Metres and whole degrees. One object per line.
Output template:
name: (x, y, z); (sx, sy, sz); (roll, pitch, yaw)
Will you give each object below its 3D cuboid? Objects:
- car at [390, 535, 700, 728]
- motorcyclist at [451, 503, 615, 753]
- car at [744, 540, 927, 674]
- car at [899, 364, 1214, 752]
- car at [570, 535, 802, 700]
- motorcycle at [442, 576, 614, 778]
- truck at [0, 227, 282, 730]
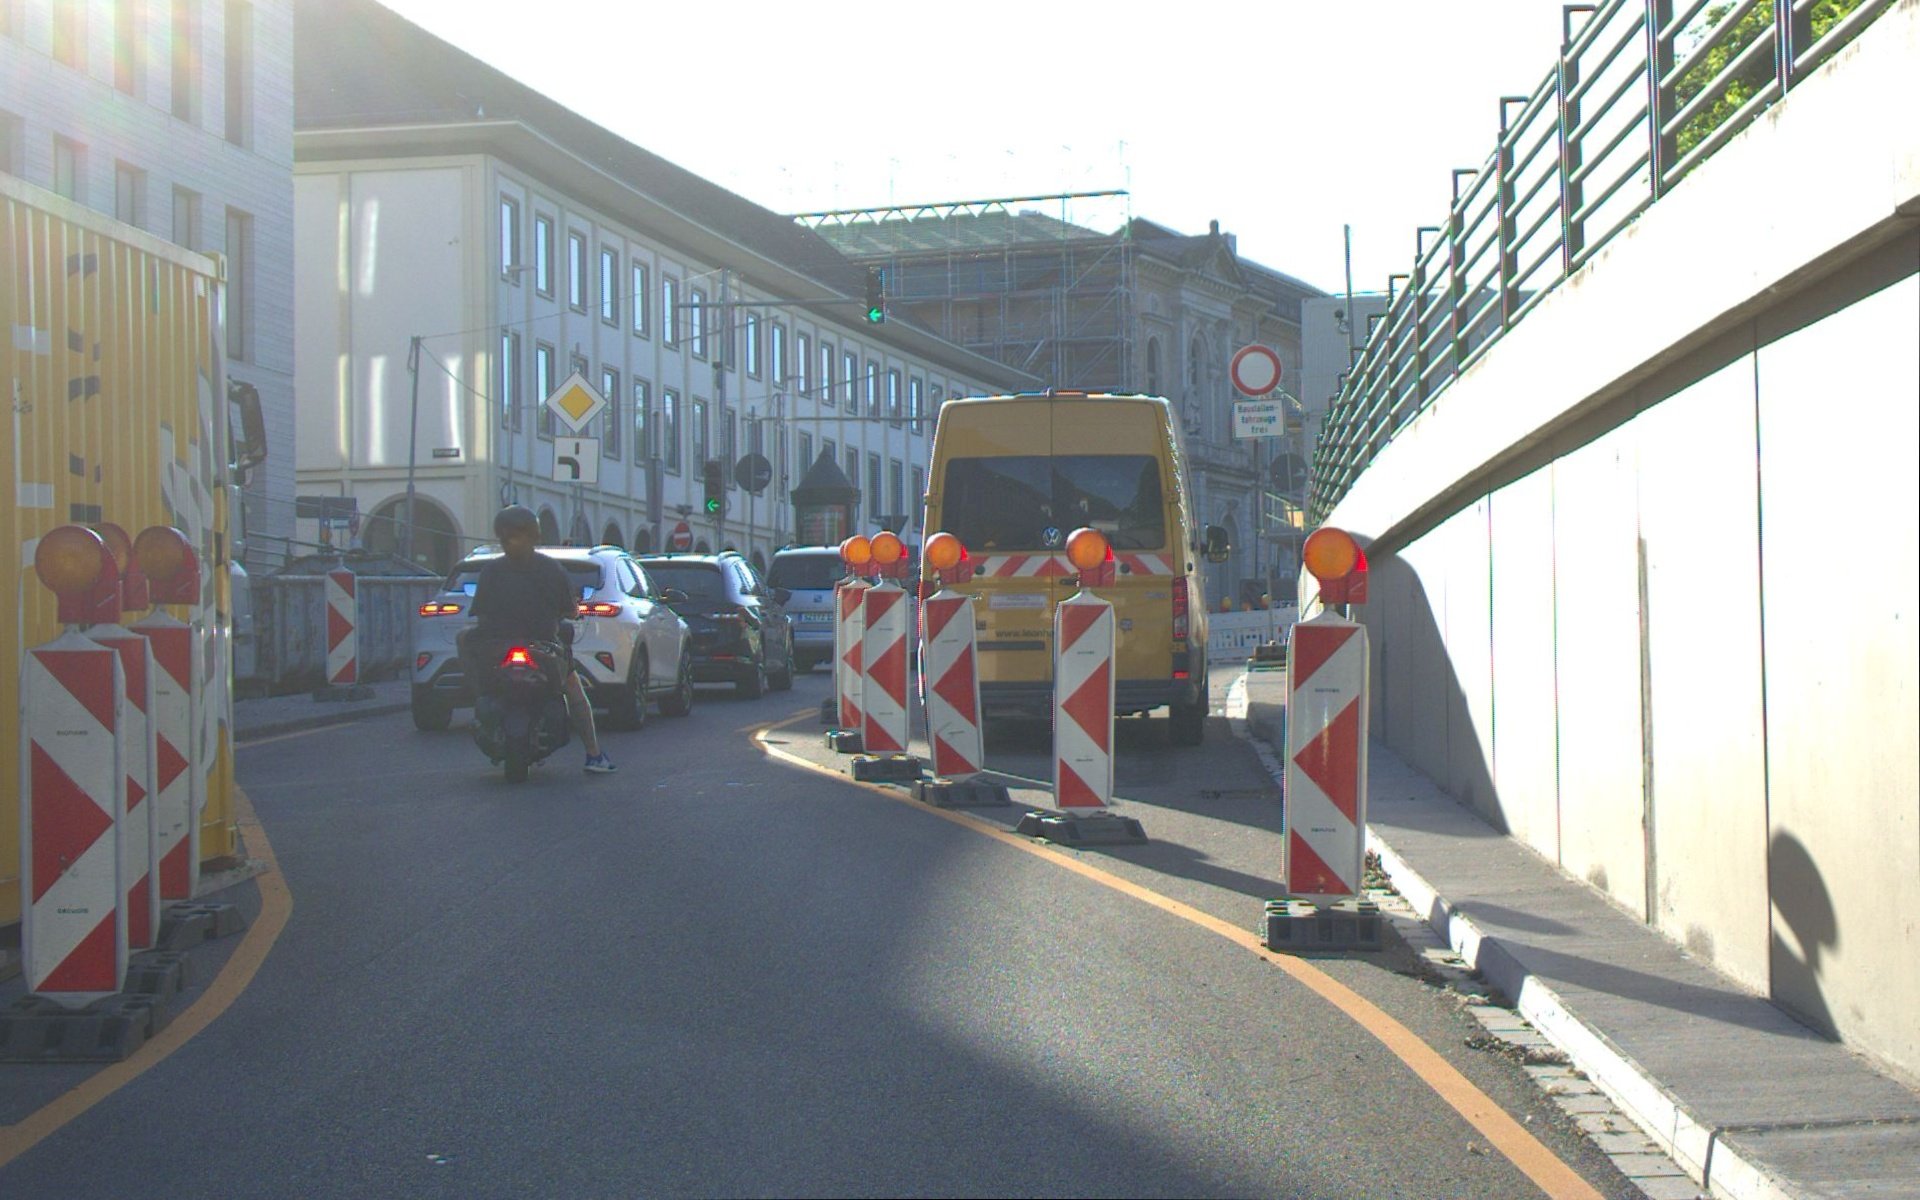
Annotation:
car: (-3.366, 0.225, 28.596); (1.859, 1.467, 4.000); (1, 1, 3)
motorcyclist: (-2.717, 0.157, 22.011); (0.954, 1.554, 1.239); (0, 1, -3)
car: (-1.620, 0.060, 46.257); (1.804, 1.715, 4.162); (0, 1, 7)
car: (0.855, -0.317, 26.906); (2.112, 2.616, 6.986); (-1, 1, 3)
car: (-2.710, 0.208, 34.824); (1.774, 1.545, 4.106); (-1, -1, 3)
motorcycle: (-2.739, 0.457, 22.052); (0.905, 1.179, 2.579); (0, 1, -3)
truck: (-7.502, -0.799, 26.888); (2.580, 3.477, 5.815); (-4, 0, 5)
